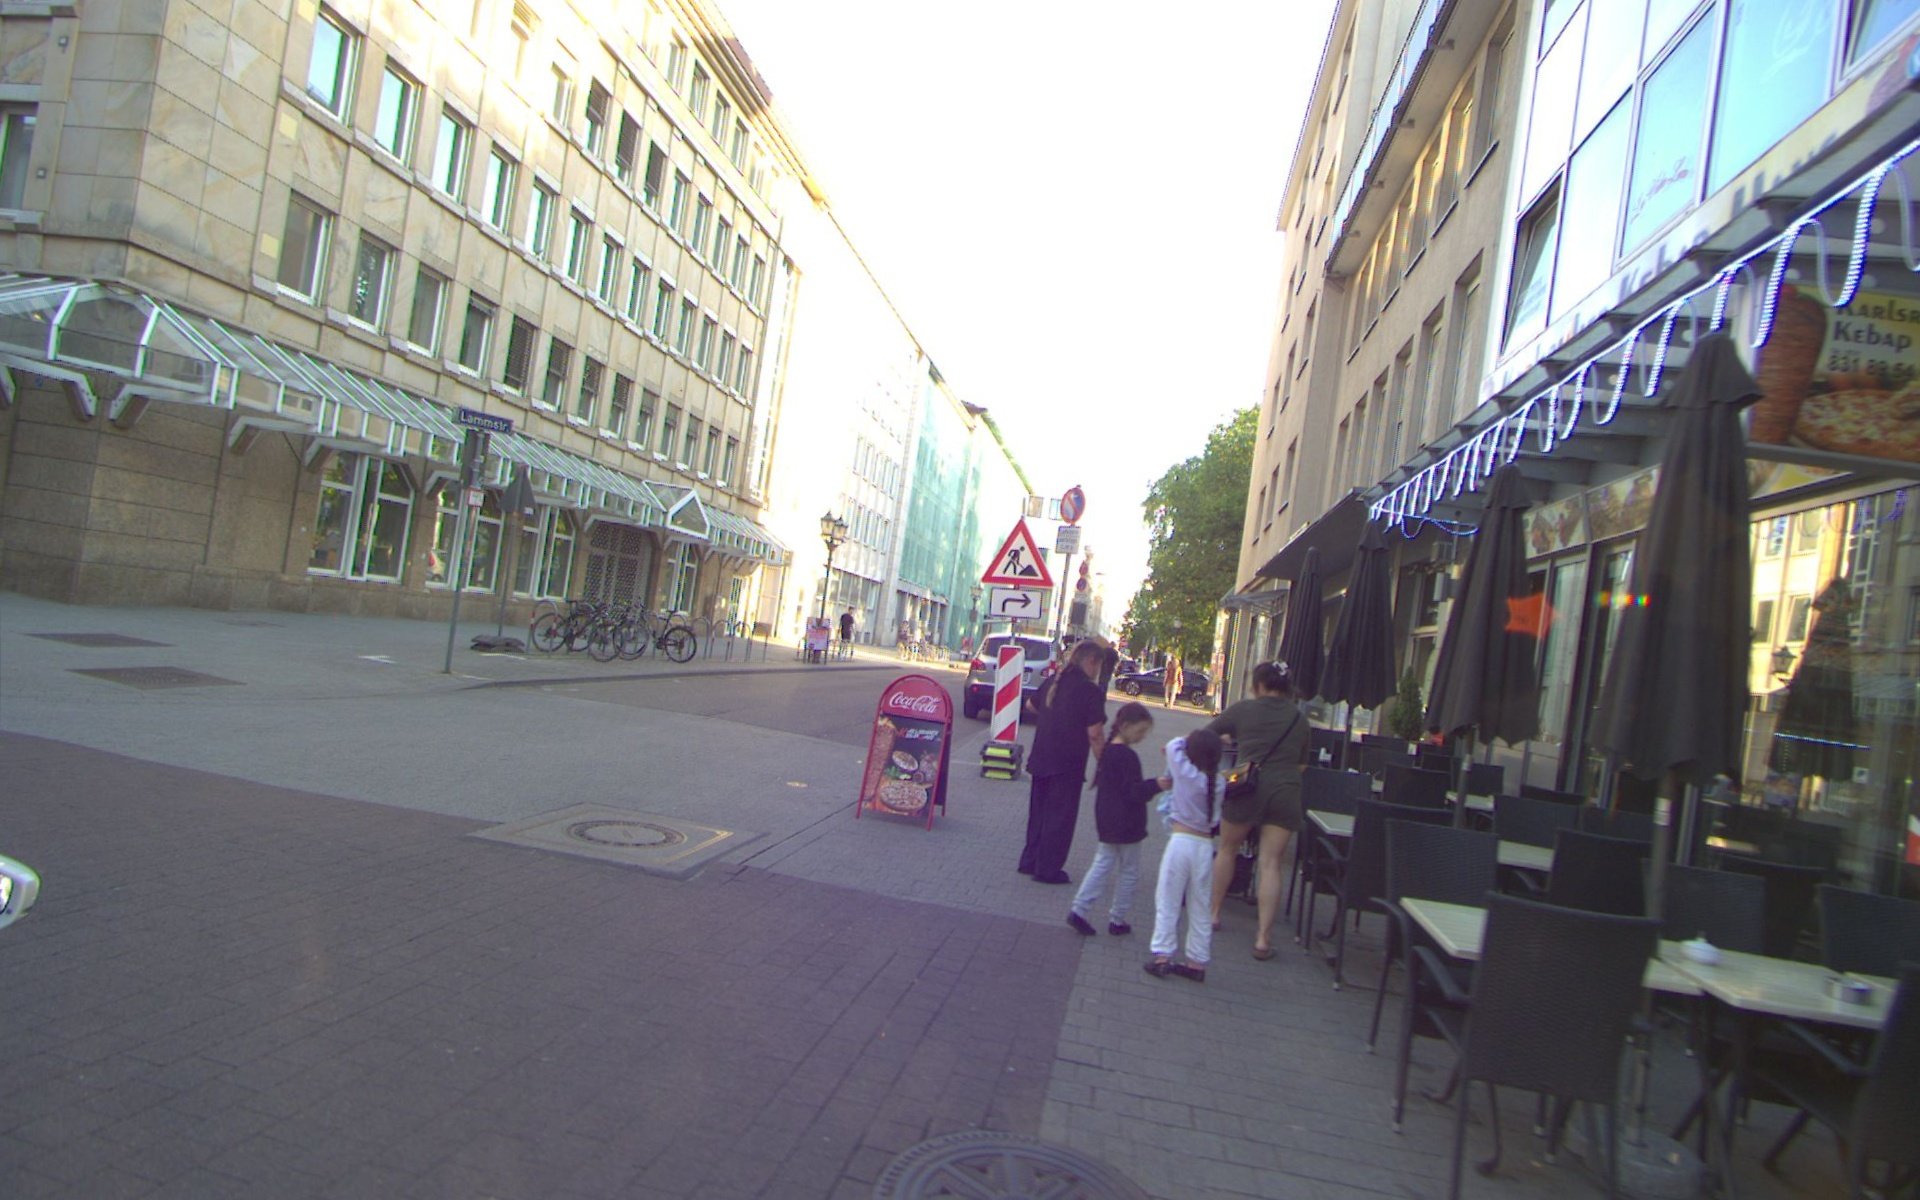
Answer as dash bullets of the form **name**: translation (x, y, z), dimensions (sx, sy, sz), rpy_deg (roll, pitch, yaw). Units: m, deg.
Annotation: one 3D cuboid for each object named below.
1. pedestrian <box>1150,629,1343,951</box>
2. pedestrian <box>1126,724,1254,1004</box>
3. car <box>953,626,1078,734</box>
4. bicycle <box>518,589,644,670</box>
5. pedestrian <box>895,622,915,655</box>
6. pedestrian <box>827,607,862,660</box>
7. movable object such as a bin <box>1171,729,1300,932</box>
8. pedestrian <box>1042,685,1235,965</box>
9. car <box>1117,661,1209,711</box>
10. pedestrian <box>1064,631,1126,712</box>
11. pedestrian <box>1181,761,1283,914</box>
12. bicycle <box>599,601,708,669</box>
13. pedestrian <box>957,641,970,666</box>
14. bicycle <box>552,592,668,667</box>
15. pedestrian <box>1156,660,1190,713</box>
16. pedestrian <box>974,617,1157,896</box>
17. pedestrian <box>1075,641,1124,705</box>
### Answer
- **pedestrian**: translation (1.599, 1.002, 5.576), dimensions (0.779, 1.553, 0.621), rpy_deg (8, -1, 21)
- **pedestrian**: translation (1.053, 1.181, 4.648), dimensions (0.402, 1.137, 0.473), rpy_deg (8, -1, 12)
- **car**: translation (1.179, 1.479, 19.261), dimensions (1.771, 1.607, 3.945), rpy_deg (8, -2, 10)
- **bicycle**: translation (-6.553, 0.512, 17.411), dimensions (1.912, 1.063, 0.545), rpy_deg (10, 0, 11)
- **pedestrian**: translation (-2.808, 1.949, 51.193), dimensions (0.649, 1.591, 0.730), rpy_deg (8, -1, 10)
- **pedestrian**: translation (-4.064, 1.186, 35.410), dimensions (0.758, 1.751, 0.916), rpy_deg (8, -1, 10)
- **movable object such as a bin**: translation (1.734, 1.389, 6.267), dimensions (0.577, 1.049, 0.800), rpy_deg (8, -1, 21)
- **pedestrian**: translation (0.915, 1.132, 5.218), dimensions (0.510, 1.261, 0.658), rpy_deg (9, -1, -36)
- **car**: translation (9.269, 3.897, 45.862), dimensions (3.899, 1.635, 1.854), rpy_deg (8, -1, 14)
- **pedestrian**: translation (3.586, 1.875, 26.773), dimensions (1.200, 1.960, 0.890), rpy_deg (8, -1, -6)
- **pedestrian**: translation (1.743, 1.486, 6.403), dimensions (0.502, 0.801, 0.550), rpy_deg (8, -1, 19)
- **bicycle**: translation (-6.080, 0.696, 19.948), dimensions (1.912, 1.040, 0.514), rpy_deg (9, -1, 9)
- **pedestrian**: translation (0.182, 2.834, 52.934), dimensions (0.441, 1.268, 0.471), rpy_deg (8, -1, 10)
- **bicycle**: translation (-6.482, 0.546, 18.642), dimensions (1.912, 1.063, 0.545), rpy_deg (9, 0, 13)
- **pedestrian**: translation (7.528, 3.033, 35.564), dimensions (0.925, 1.724, 0.892), rpy_deg (8, -1, 13)
- **pedestrian**: translation (0.676, 0.951, 6.344), dimensions (0.712, 1.548, 0.717), rpy_deg (8, -1, 32)
- **pedestrian**: translation (4.182, 2.183, 30.181), dimensions (0.930, 1.724, 0.887), rpy_deg (8, -1, -21)
